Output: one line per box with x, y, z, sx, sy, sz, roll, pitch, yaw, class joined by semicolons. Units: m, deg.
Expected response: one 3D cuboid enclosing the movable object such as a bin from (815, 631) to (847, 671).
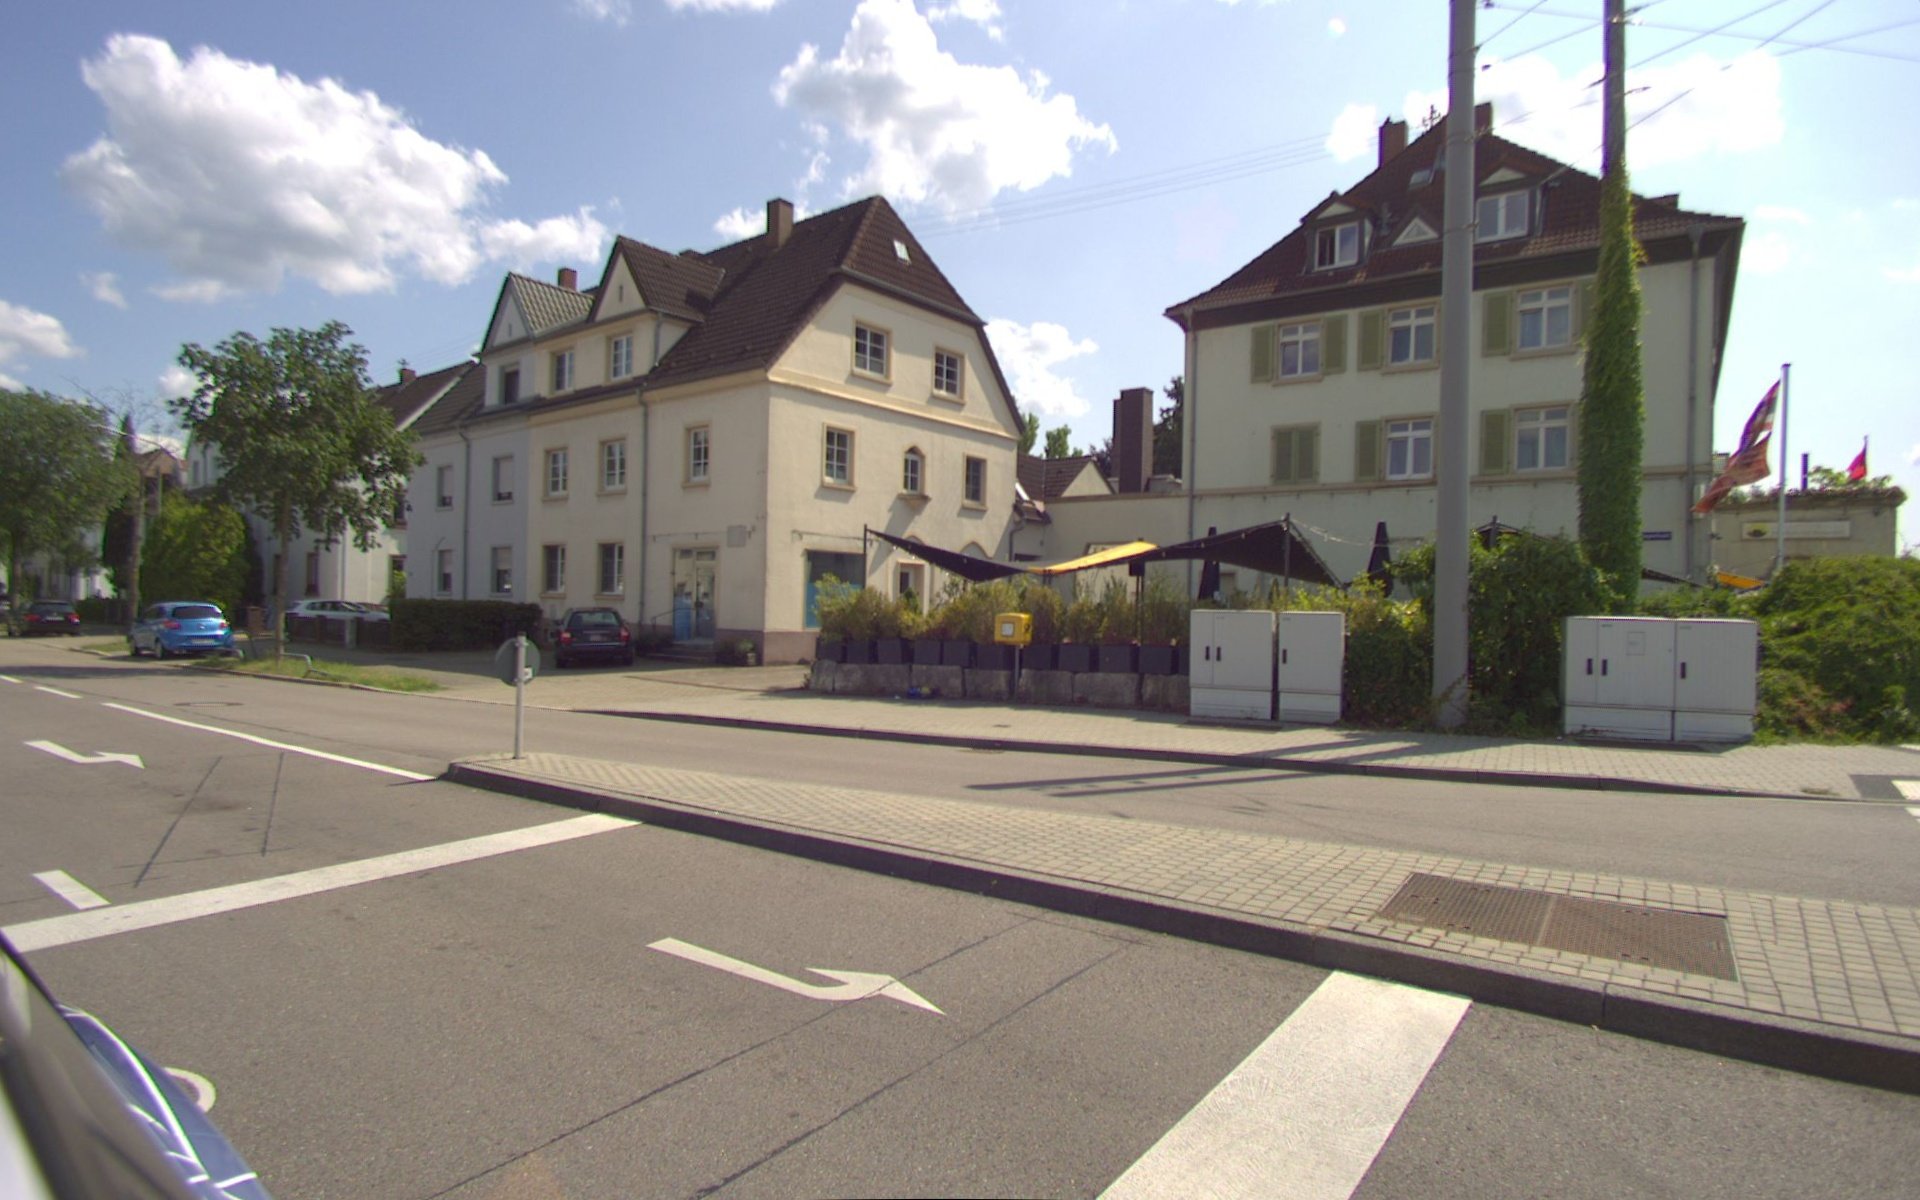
-3.285;1.294;25.735;0.509;0.979;0.608;0;-2;38;movable object such as a bin

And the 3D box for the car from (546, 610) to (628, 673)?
-9.232;0.978;24.981;1.731;1.397;4.115;1;-1;-21;car

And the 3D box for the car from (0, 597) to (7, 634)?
-45.674;0.707;47.155;3.572;1.667;1.542;0;-2;42;car

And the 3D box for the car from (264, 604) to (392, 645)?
-23.776;0.933;38.166;1.710;1.465;3.756;0;-2;42;car

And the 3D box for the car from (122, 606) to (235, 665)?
-20.976;0.909;27.151;3.151;1.473;1.688;0;-1;39;car

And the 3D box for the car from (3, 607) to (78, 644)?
-34.831;0.956;38.311;3.917;1.306;1.687;0;-2;42;car

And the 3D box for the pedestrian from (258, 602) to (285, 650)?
-22.598;0.847;33.231;0.622;1.547;0.619;2;-2;-41;pedestrian
